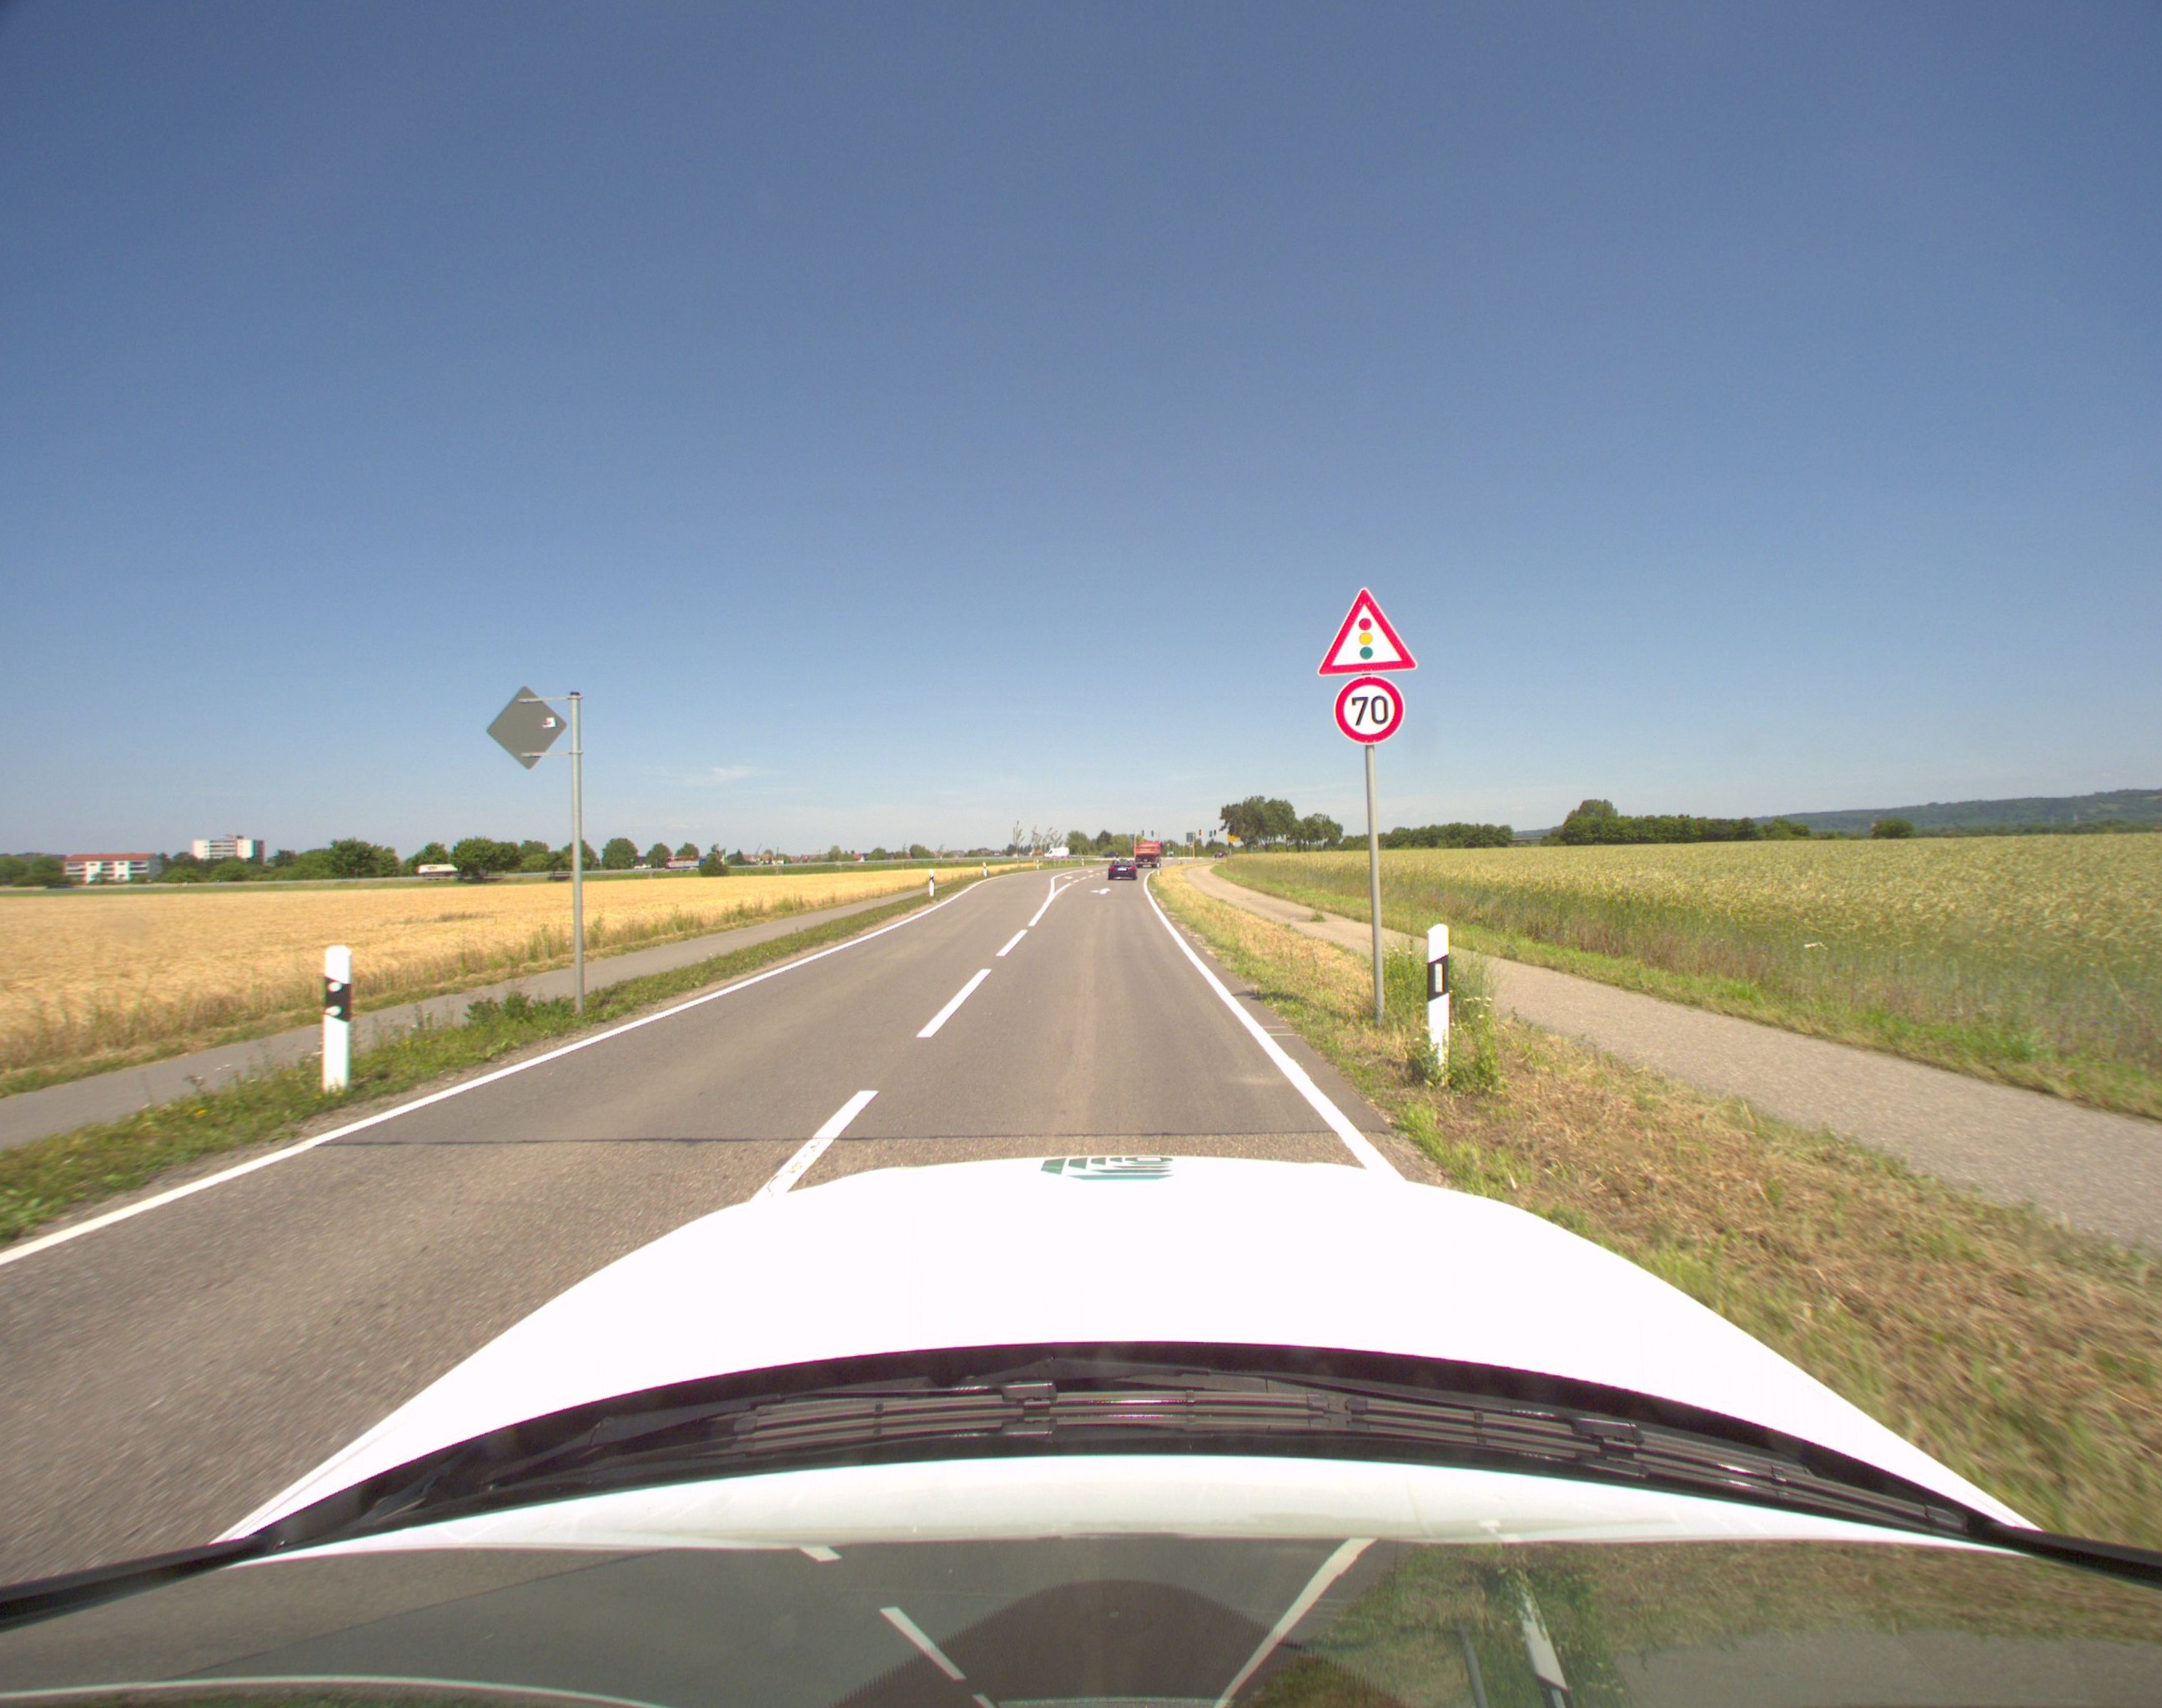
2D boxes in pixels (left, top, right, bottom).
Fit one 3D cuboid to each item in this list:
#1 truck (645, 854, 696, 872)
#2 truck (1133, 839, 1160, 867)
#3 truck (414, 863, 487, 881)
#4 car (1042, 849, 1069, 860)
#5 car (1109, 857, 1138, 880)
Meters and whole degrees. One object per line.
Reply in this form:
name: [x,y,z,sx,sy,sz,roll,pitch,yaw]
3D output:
truck: [-93.163,1.994,184.991,10.072,3.793,2.619,-1,0,-8]
truck: [7.650,-0.043,94.391,2.699,3.053,8.180,-1,-1,7]
truck: [-135.849,3.921,175.760,12.042,3.614,2.960,-1,0,-23]
car: [-5.939,0.095,187.944,5.884,2.421,2.253,-1,0,8]
car: [2.635,0.933,51.109,1.741,1.376,3.679,1,-1,1]
